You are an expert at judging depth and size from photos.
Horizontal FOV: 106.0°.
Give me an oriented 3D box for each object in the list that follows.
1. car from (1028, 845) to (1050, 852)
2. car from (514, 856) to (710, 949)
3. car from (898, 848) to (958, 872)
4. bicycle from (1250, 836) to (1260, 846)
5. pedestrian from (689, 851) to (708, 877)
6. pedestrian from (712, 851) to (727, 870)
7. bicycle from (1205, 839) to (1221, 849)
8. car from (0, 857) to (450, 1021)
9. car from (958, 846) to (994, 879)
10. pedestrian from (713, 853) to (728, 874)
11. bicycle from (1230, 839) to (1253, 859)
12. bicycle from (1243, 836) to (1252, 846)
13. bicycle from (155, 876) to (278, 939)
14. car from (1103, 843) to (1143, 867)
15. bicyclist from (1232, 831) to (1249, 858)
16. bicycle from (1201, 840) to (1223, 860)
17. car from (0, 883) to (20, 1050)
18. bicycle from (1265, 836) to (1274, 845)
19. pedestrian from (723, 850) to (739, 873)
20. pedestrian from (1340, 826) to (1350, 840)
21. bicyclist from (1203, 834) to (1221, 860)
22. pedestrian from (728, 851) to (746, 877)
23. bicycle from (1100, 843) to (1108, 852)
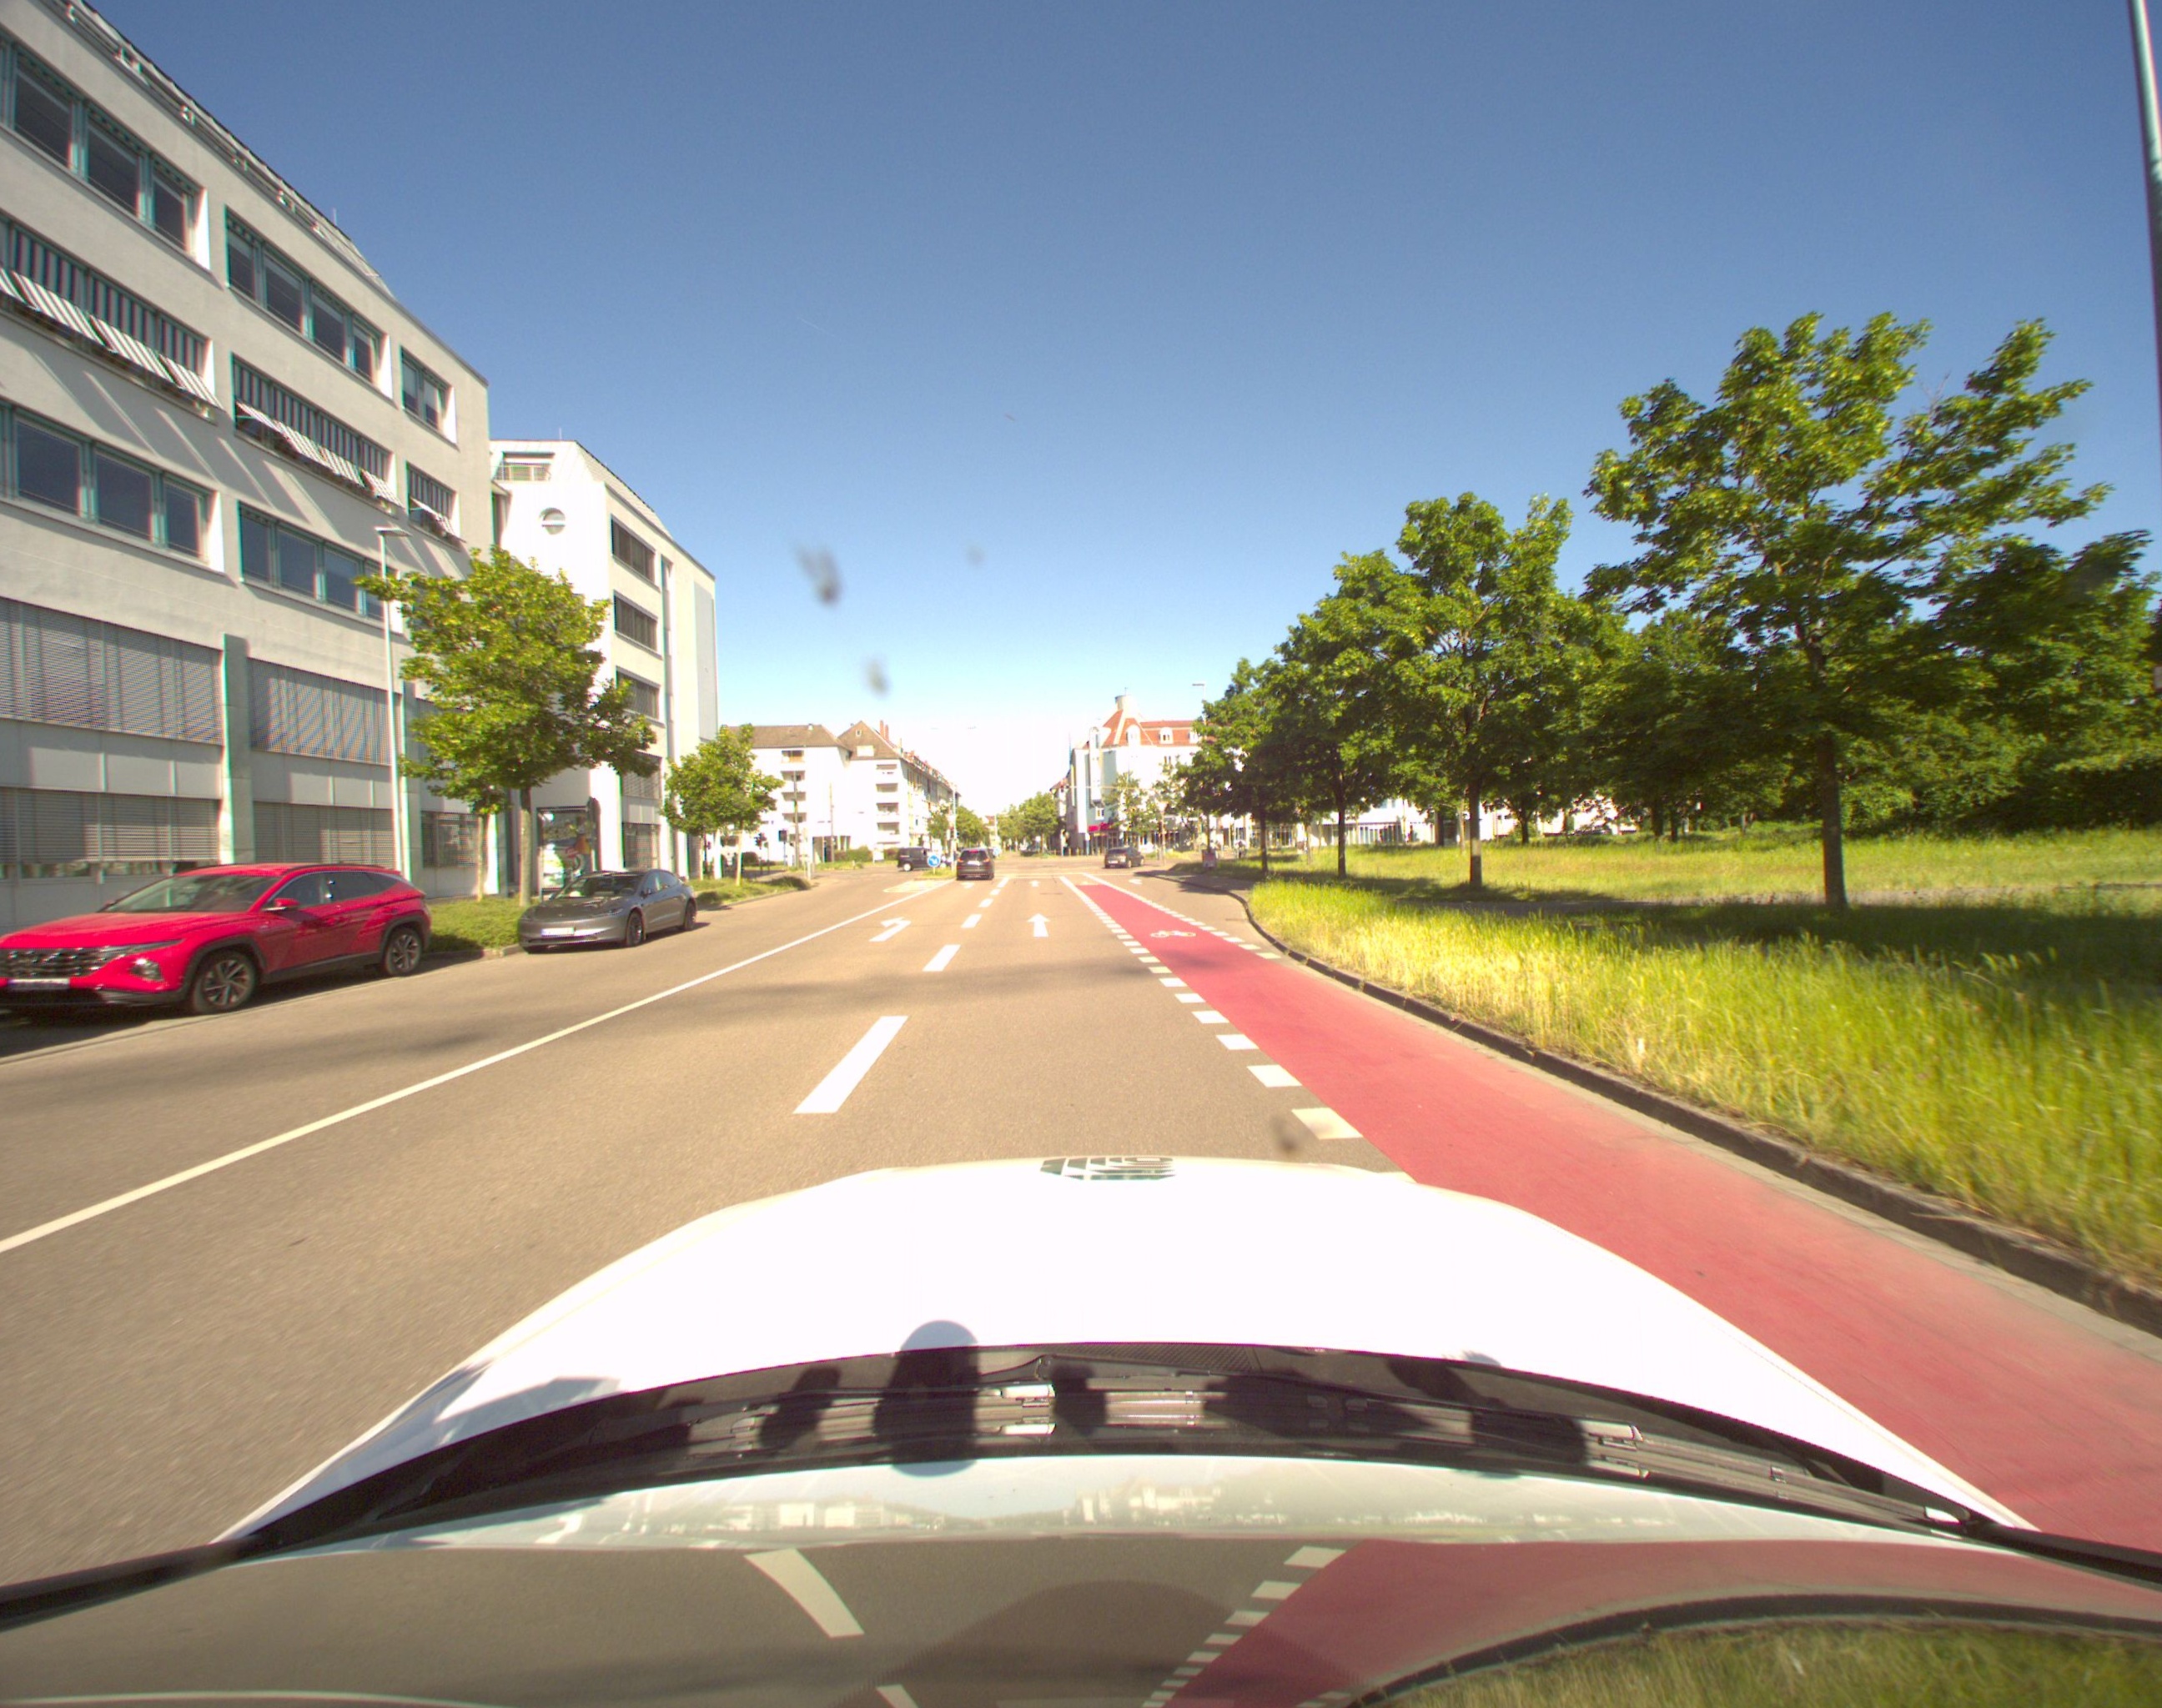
[{"bbox_3d":[-7.606,-1.030,147.244,3.573,1.223,1.722,-1,0,-15],"label":"car"},{"bbox_3d":[-9.109,0.830,16.306,1.686,1.468,4.536,-3,1,-7],"label":"car"},{"bbox_3d":[-11.835,0.454,63.352,4.479,1.800,1.760,0,0,-8],"label":"car"},{"bbox_3d":[22.215,-1.665,103.988,0.559,1.182,1.866,-2,1,-5],"label":"bicycle"},{"bbox_3d":[-26.292,0.697,55.926,0.810,1.726,1.151,-2,1,-9],"label":"pedestrian"},{"bbox_3d":[-34.495,0.647,77.698,1.139,1.726,0.818,-2,1,37],"label":"pedestrian"},{"bbox_3d":[16.602,-1.261,102.405,1.863,1.182,0.560,-2,1,-9],"label":"bicycle"},{"bbox_3d":[-10.482,0.875,10.484,1.686,1.607,4.302,0,0,-6],"label":"car"},{"bbox_3d":[-5.463,0.388,42.714,1.752,1.628,4.468,0,0,-7],"label":"car"},{"bbox_3d":[-30.082,0.787,67.999,0.810,1.726,1.151,-2,1,-9],"label":"pedestrian"},{"bbox_3d":[11.737,-0.394,59.459,0.782,1.347,2.277,-2,1,34],"label":"bicycle"},{"bbox_3d":[21.307,-1.666,103.951,0.559,1.182,1.866,-2,1,-5],"label":"bicycle"},{"bbox_3d":[-16.482,1.008,15.540,1.759,1.069,0.556,-3,0,3],"label":"bicycle"},{"bbox_3d":[2.968,0.046,57.008,1.674,1.577,3.891,1,0,21],"label":"car"},{"bbox_3d":[11.639,-0.696,59.331,0.782,1.959,1.018,-2,1,34],"label":"bicyclist"},{"bbox_3d":[9.540,-0.289,59.288,0.782,1.347,2.092,-2,1,34],"label":"bicycle"},{"bbox_3d":[-10.039,0.979,5.149,1.685,1.432,3.866,0,0,-4],"label":"car"},{"bbox_3d":[24.075,-1.703,104.065,0.559,1.182,1.868,-2,1,-3],"label":"bicycle"},{"bbox_3d":[-28.779,0.609,66.969,0.920,1.770,1.151,-2,1,-9],"label":"pedestrian"},{"bbox_3d":[33.240,-2.594,102.579,0.988,1.723,0.653,-2,1,-6],"label":"pedestrian"},{"bbox_3d":[9.543,-0.533,59.316,0.782,1.824,1.143,-2,1,34],"label":"bicyclist"},{"bbox_3d":[-23.728,0.656,56.146,0.810,1.726,1.151,-2,1,-9],"label":"pedestrian"},{"bbox_3d":[2.672,-0.734,94.843,0.472,1.027,1.508,-2,1,-15],"label":"bicycle"}]
